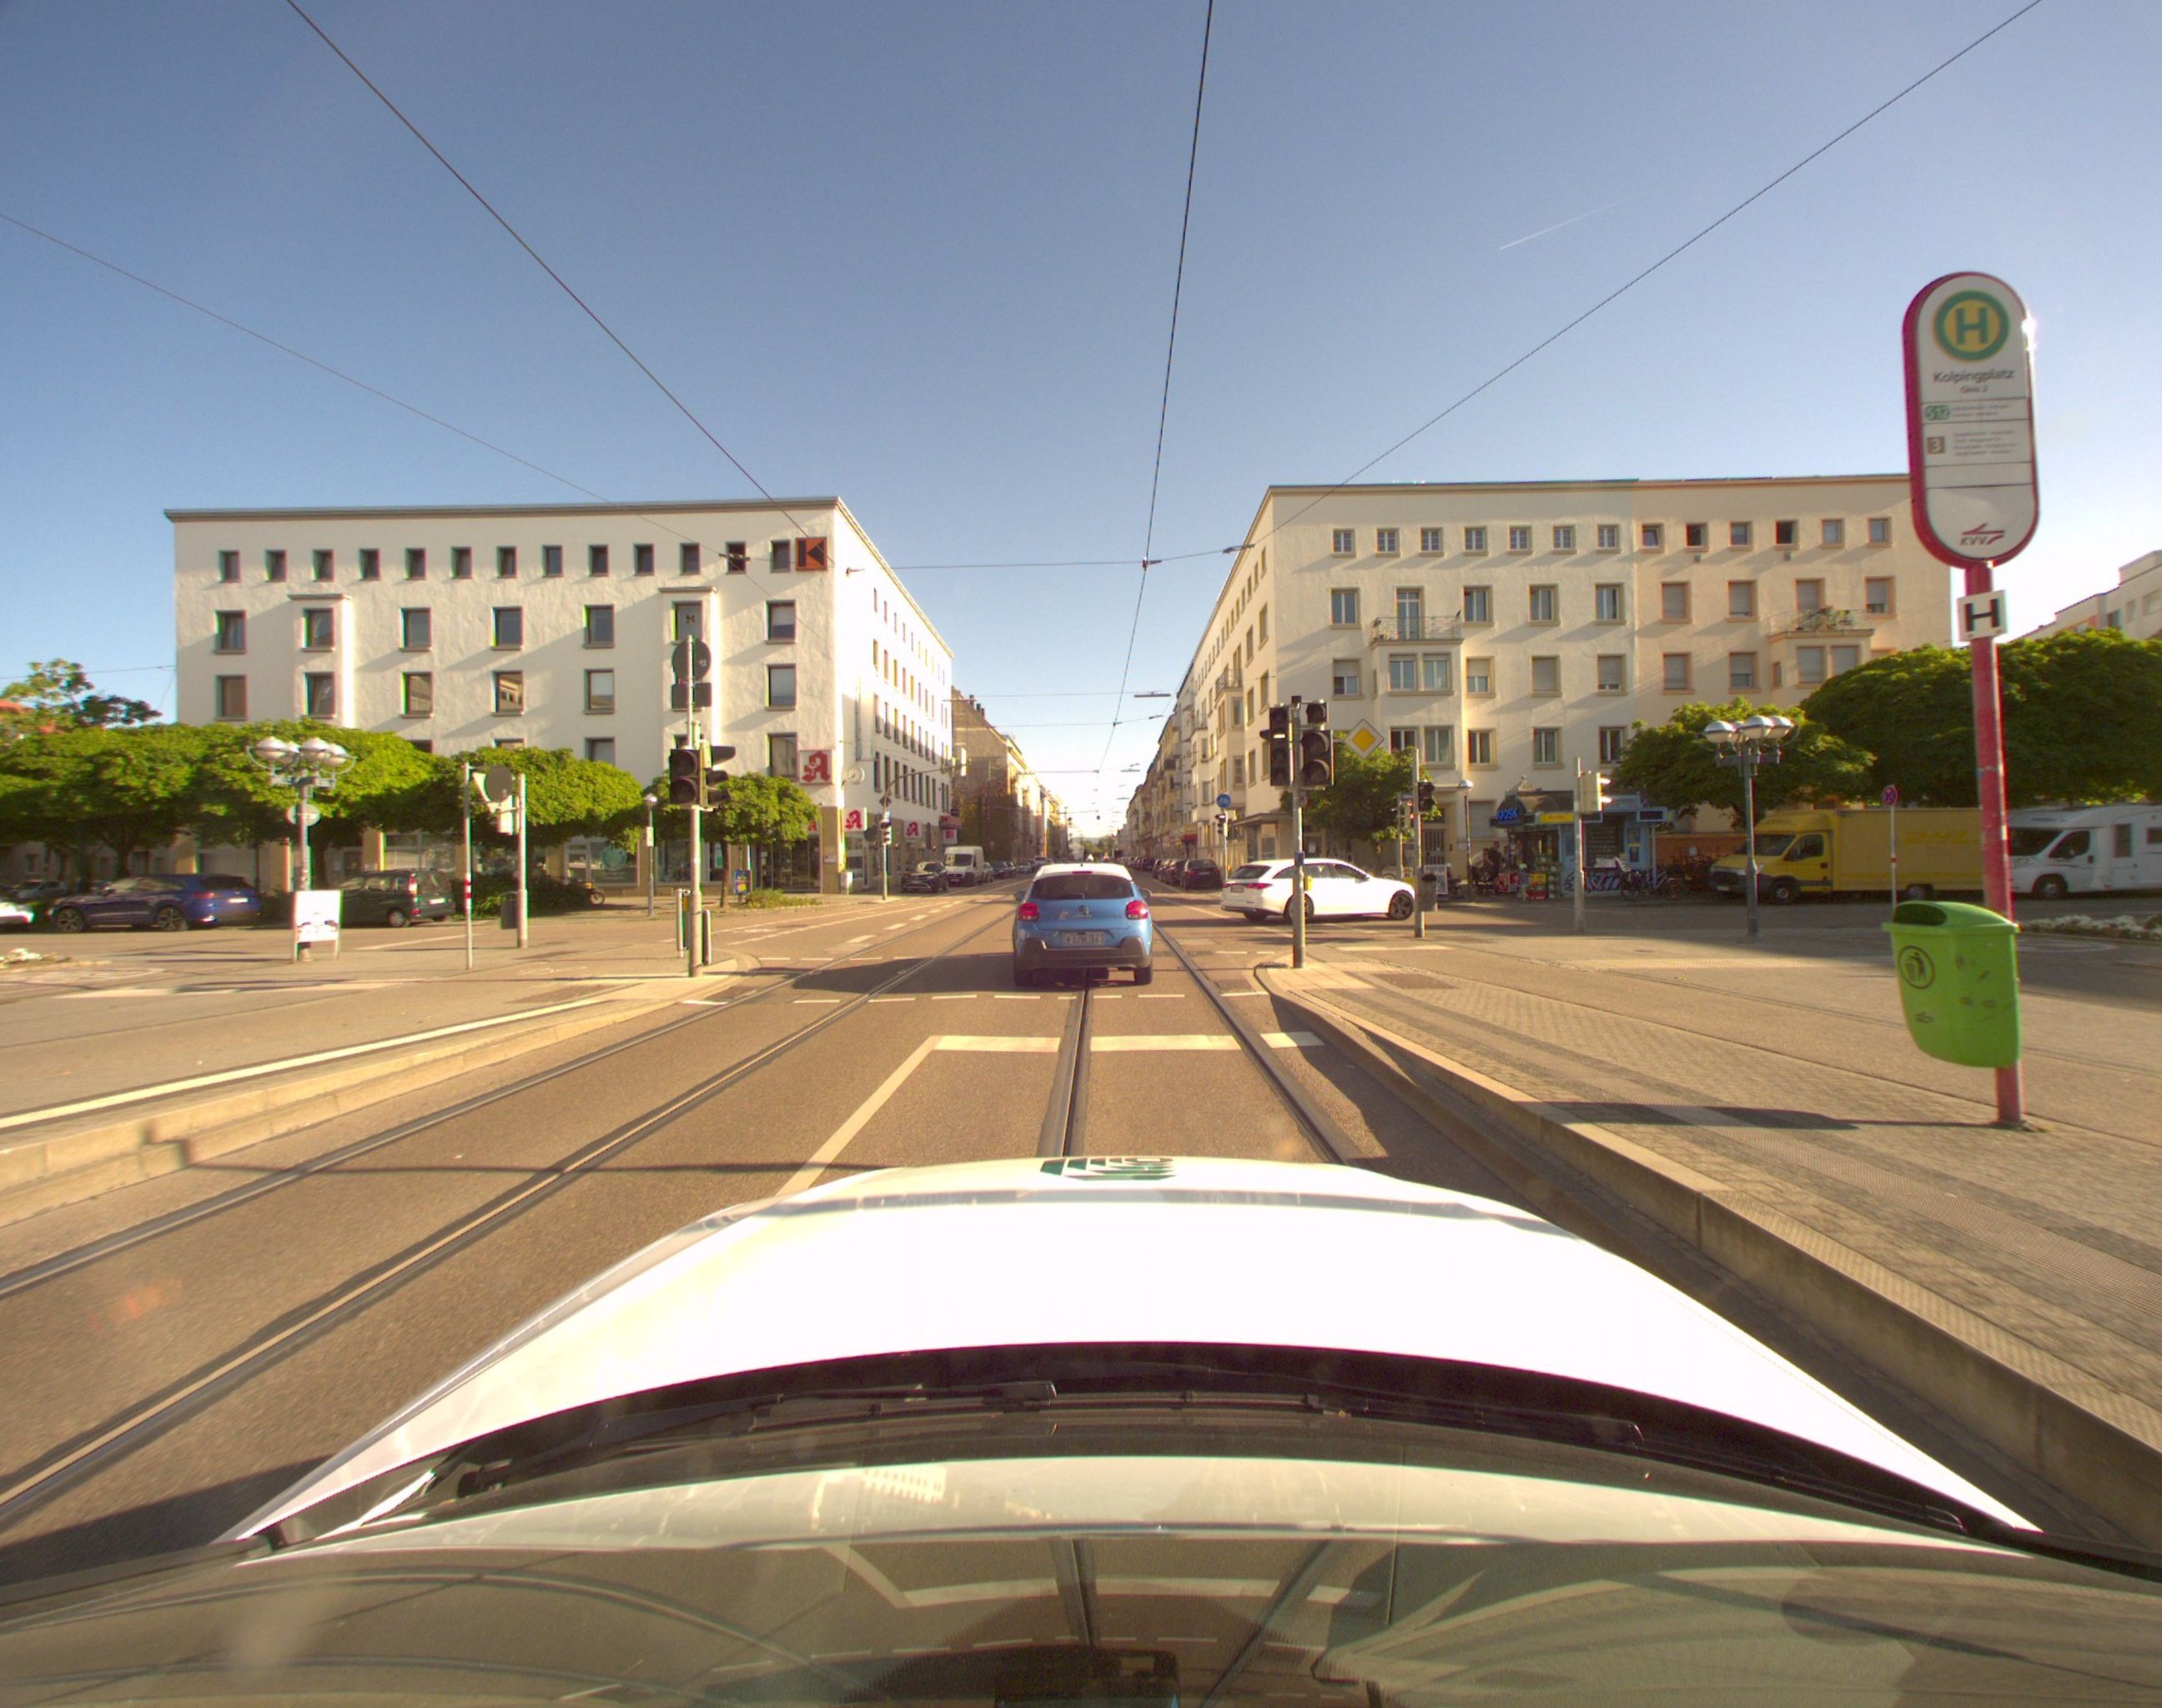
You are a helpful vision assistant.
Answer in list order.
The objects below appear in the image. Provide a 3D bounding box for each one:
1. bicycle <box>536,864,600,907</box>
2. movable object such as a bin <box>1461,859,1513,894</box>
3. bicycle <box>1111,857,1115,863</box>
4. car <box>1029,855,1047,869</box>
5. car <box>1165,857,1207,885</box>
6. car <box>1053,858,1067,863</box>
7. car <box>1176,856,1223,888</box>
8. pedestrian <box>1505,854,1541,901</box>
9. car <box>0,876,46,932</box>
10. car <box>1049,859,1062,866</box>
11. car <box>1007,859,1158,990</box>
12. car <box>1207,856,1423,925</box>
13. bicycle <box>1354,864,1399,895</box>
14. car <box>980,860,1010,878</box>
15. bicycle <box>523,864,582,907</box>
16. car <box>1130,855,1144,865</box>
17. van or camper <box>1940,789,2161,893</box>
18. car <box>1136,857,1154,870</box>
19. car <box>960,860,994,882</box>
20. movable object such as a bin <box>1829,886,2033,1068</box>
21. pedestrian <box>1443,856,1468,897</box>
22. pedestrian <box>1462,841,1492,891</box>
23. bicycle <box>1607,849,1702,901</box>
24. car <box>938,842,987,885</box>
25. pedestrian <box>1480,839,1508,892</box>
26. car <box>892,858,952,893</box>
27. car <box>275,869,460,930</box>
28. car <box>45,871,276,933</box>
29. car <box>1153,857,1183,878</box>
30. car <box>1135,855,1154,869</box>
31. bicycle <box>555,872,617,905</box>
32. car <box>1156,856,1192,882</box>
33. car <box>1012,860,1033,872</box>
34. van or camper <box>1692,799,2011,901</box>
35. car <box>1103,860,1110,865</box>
[{"bbox_3d":[-20.122,1.206,32.021,0.614,1.607,2.625,-1,0,6],"label":"bicycle"},{"bbox_3d":[14.059,0.778,28.249,1.194,1.153,1.218,-1,-1,2],"label":"movable object such as a bin"},{"bbox_3d":[7.610,1.386,192.929,0.916,1.389,3.134,-1,0,3],"label":"bicycle"},{"bbox_3d":[-6.087,1.125,115.508,1.997,2.014,4.694,0,-1,4],"label":"car"},{"bbox_3d":[5.894,0.909,45.998,1.985,1.464,4.002,-1,0,2],"label":"car"},{"bbox_3d":[-4.416,1.392,173.562,1.980,1.156,4.528,-1,0,11],"label":"car"},{"bbox_3d":[5.859,0.870,40.654,1.902,1.464,4.002,-1,0,2],"label":"car"},{"bbox_3d":[13.968,0.741,25.754,0.727,1.409,0.755,-1,3,2],"label":"pedestrian"},{"bbox_3d":[-33.824,1.522,23.848,4.591,1.606,1.855,-1,0,-1],"label":"car"},{"bbox_3d":[-4.451,1.405,142.632,1.985,1.156,4.002,-1,0,2],"label":"car"},{"bbox_3d":[0.072,0.816,11.229,1.721,1.482,3.828,0,0,2],"label":"car"},{"bbox_3d":[5.591,0.798,19.408,4.821,1.464,1.975,0,0,-24],"label":"car"},{"bbox_3d":[11.130,0.958,30.691,1.556,1.120,0.301,0,-1,12],"label":"bicycle"},{"bbox_3d":[-7.013,1.191,66.643,1.986,1.398,4.157,0,-1,1],"label":"car"},{"bbox_3d":[-20.809,1.212,32.148,0.616,1.607,2.620,-1,0,0],"label":"bicycle"},{"bbox_3d":[8.356,0.886,121.497,1.985,1.464,4.002,-1,0,2],"label":"car"},{"bbox_3d":[29.812,-0.367,23.872,6.374,2.839,2.381,-1,-1,5],"label":"van or camper"},{"bbox_3d":[7.642,1.135,97.972,1.985,1.464,4.002,-1,0,2],"label":"car"},{"bbox_3d":[-7.343,1.172,57.960,1.881,1.496,3.562,0,-1,1],"label":"car"},{"bbox_3d":[4.006,0.559,3.871,0.447,0.786,0.489,-1,-1,4],"label":"movable object such as a bin"},{"bbox_3d":[12.492,0.749,27.177,0.733,1.316,0.631,-1,-1,25],"label":"pedestrian"},{"bbox_3d":[14.869,0.438,30.607,0.781,1.839,0.679,-1,-1,5],"label":"pedestrian"},{"bbox_3d":[17.411,0.634,24.767,2.376,1.531,0.726,1,0,0],"label":"bicycle"},{"bbox_3d":[-7.370,0.605,51.363,2.078,2.542,6.206,0,0,1],"label":"car"},{"bbox_3d":[14.645,0.411,28.865,0.650,1.839,0.660,-1,-1,5],"label":"pedestrian"},{"bbox_3d":[-7.926,1.058,41.003,1.986,1.569,4.403,2,-1,1],"label":"car"},{"bbox_3d":[-21.552,1.343,24.707,3.972,1.706,1.826,-1,-1,1],"label":"car"},{"bbox_3d":[-27.494,1.399,24.462,4.591,1.662,1.999,-1,0,-1],"label":"car"},{"bbox_3d":[6.469,1.009,61.186,1.985,1.464,4.002,-1,0,2],"label":"car"},{"bbox_3d":[7.031,0.869,90.329,1.985,1.464,4.507,-1,0,3],"label":"car"},{"bbox_3d":[-19.399,1.346,31.977,0.615,1.190,2.624,-1,0,5],"label":"bicycle"},{"bbox_3d":[5.784,0.900,50.999,1.985,1.501,4.002,-1,0,2],"label":"car"},{"bbox_3d":[-6.541,1.389,91.866,1.987,1.325,3.923,0,-1,1],"label":"car"},{"bbox_3d":[22.639,-0.131,24.187,7.093,2.747,2.372,-1,1,2],"label":"van or camper"},{"bbox_3d":[7.958,2.630,253.039,1.986,1.772,4.002,-1,0,2],"label":"car"}]
